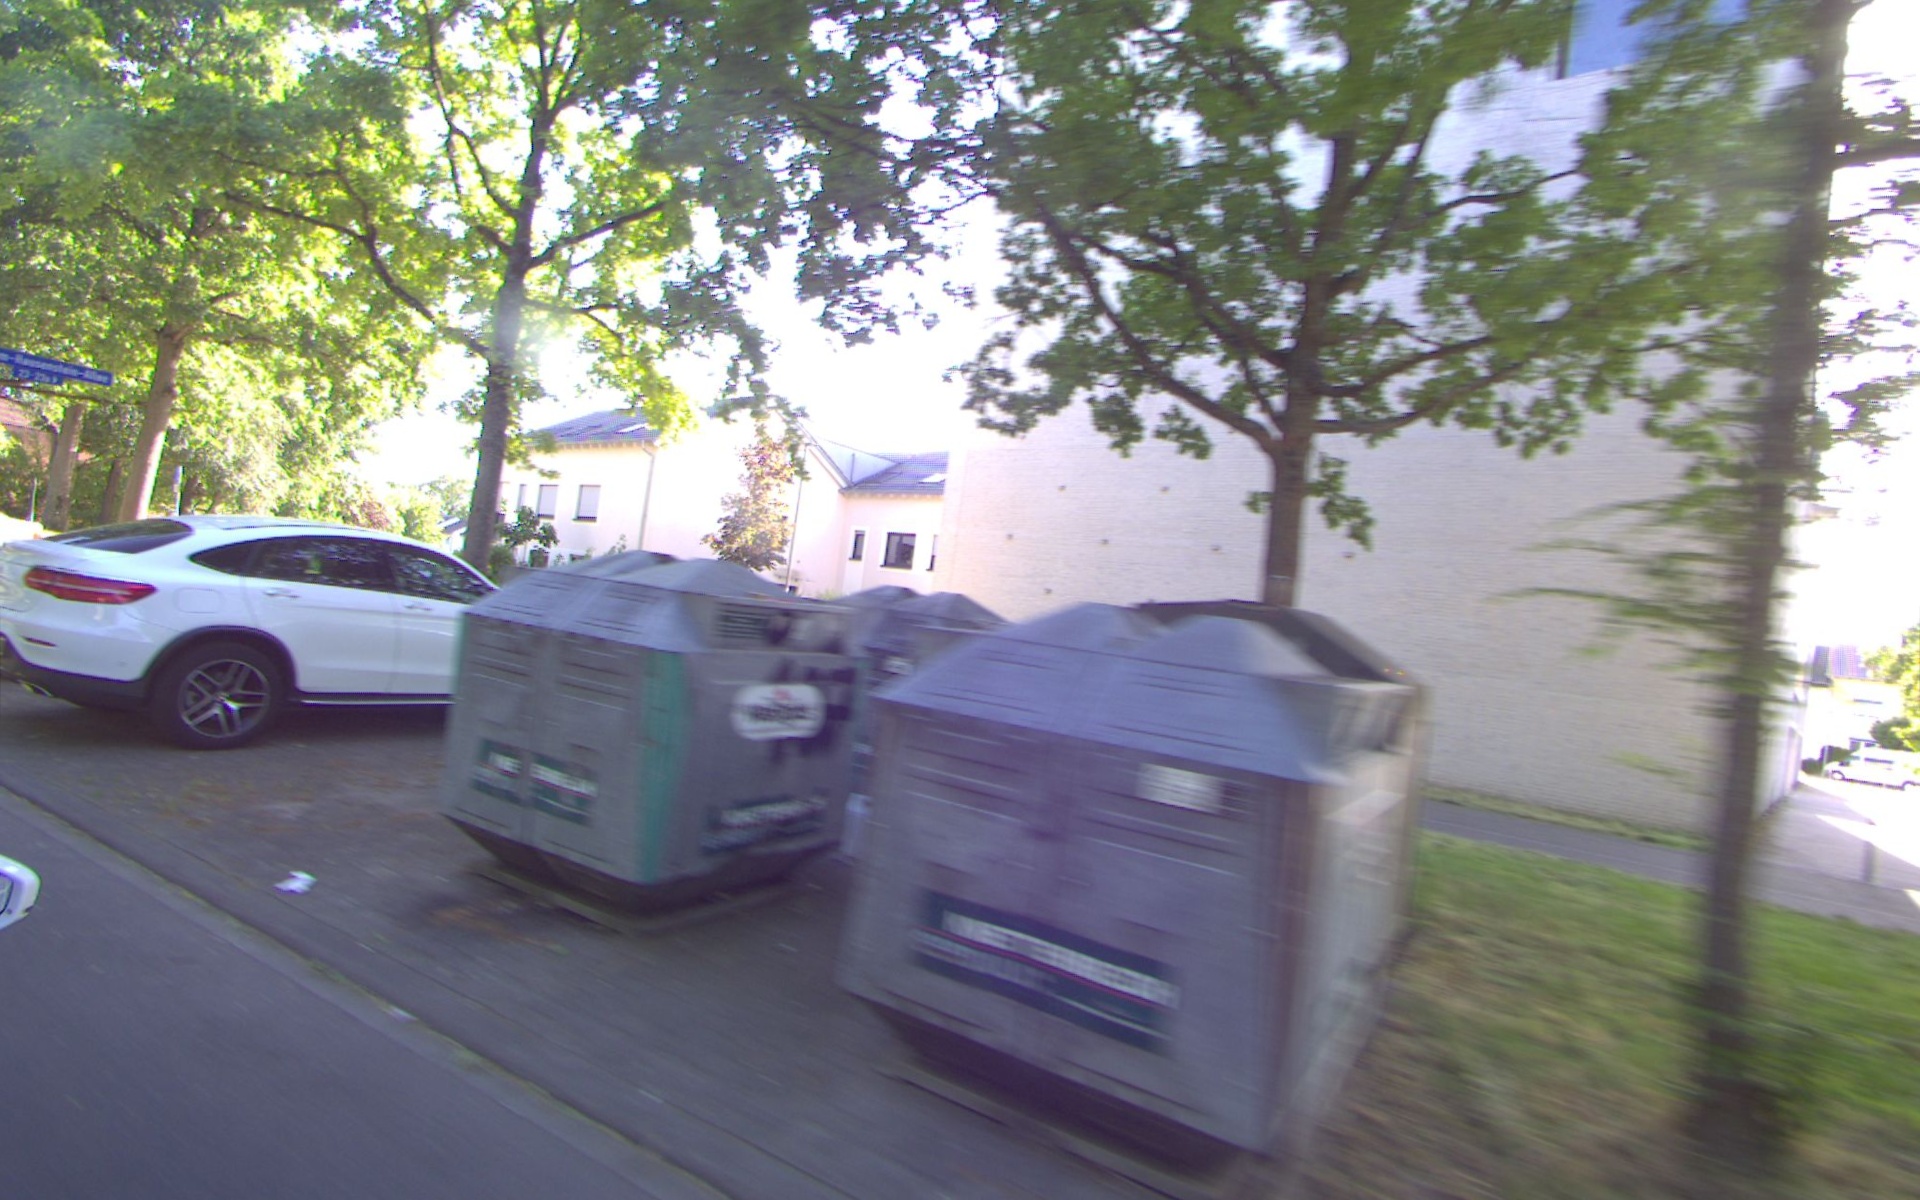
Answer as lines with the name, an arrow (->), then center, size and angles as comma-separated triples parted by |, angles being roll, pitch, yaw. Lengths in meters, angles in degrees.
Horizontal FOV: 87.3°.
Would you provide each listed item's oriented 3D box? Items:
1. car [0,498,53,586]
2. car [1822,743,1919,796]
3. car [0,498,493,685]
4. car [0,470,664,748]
car -> -17.750, -1.232, 16.048 | 1.879, 1.406, 4.454 | 7, -1, 31
car -> 60.359, 11.110, 65.774 | 2.322, 2.638, 5.432 | 9, -3, -27
car -> -7.512, -0.015, 10.240 | 1.884, 1.473, 4.679 | 7, -1, 30
car -> -4.980, 0.152, 8.318 | 1.885, 1.599, 4.677 | 7, -1, 31
